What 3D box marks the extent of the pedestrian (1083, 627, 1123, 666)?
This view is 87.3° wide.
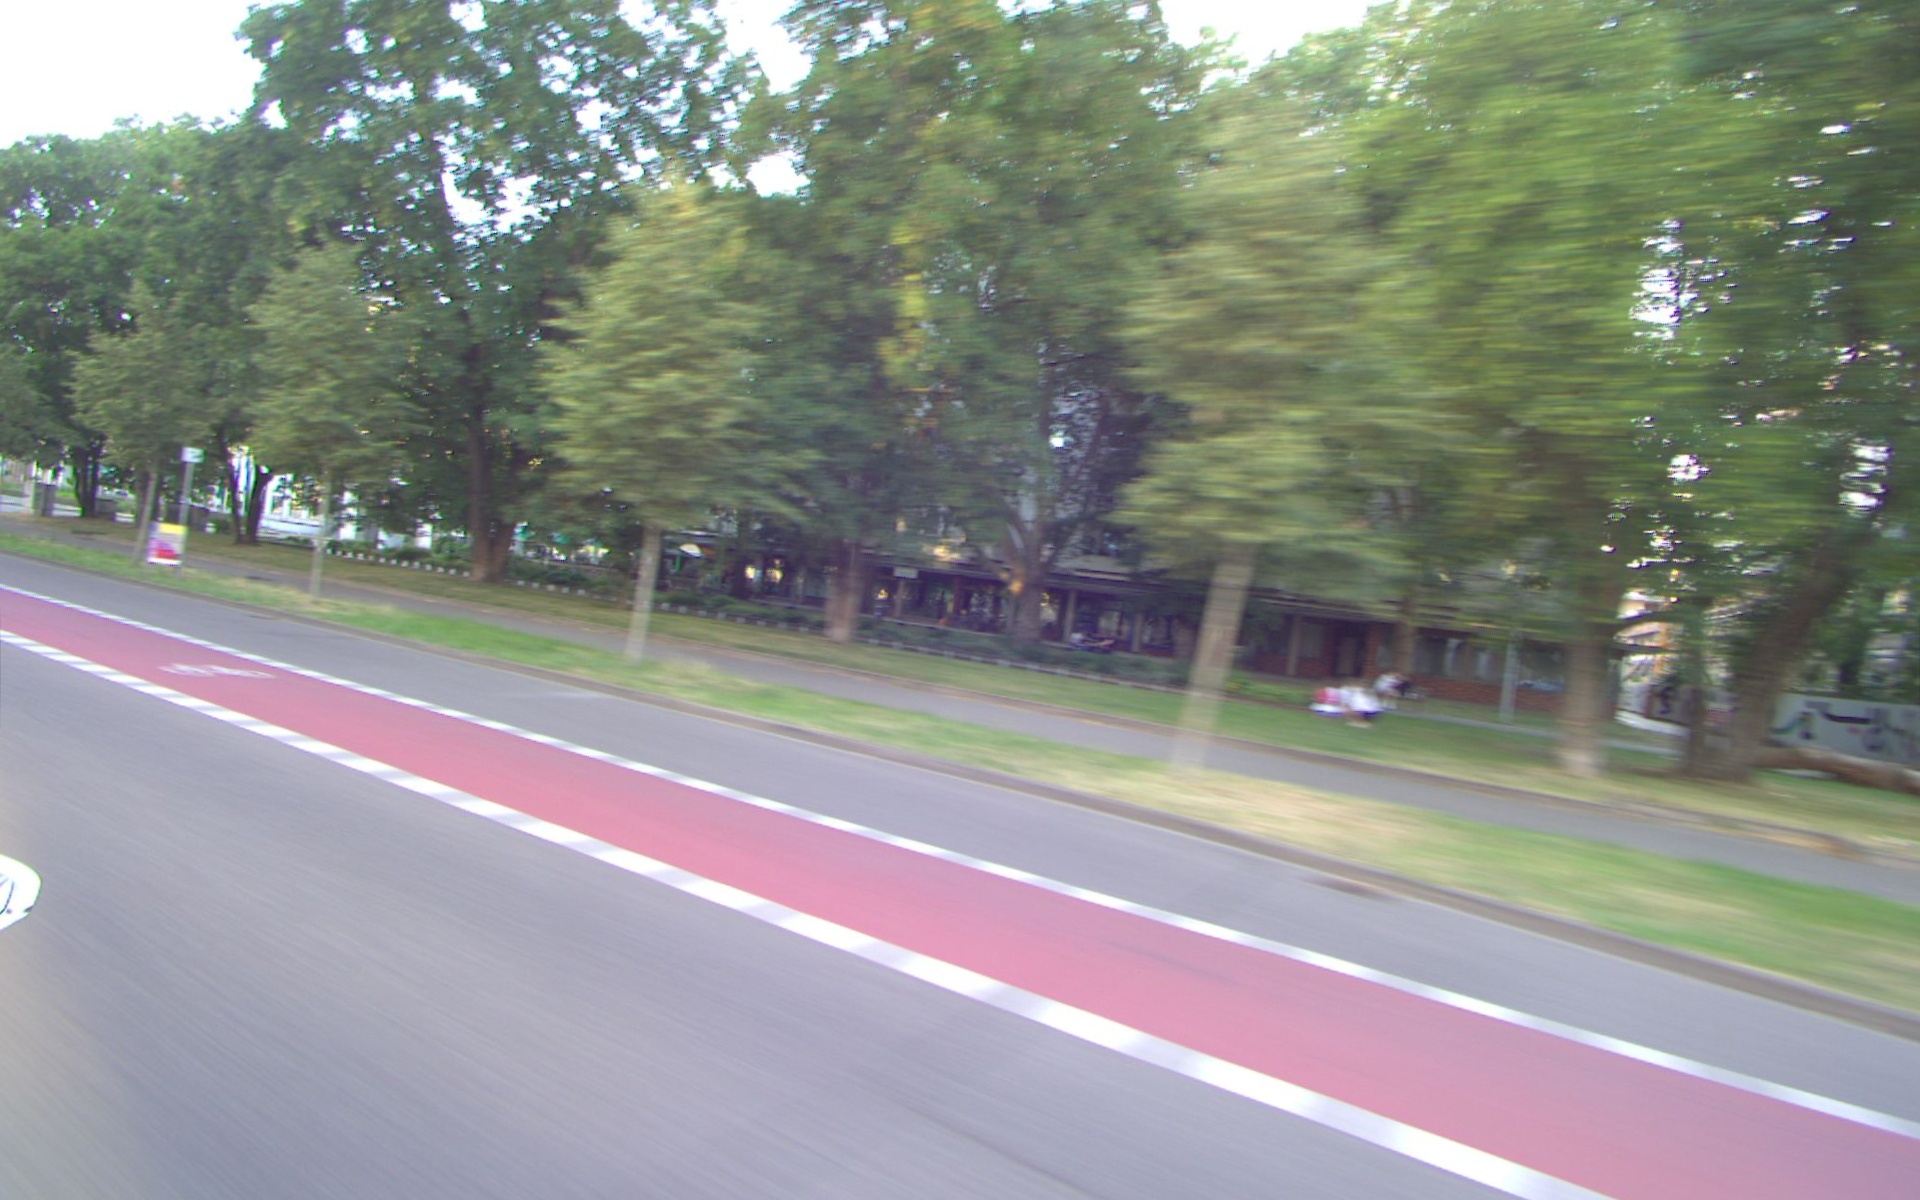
[{"bbox_3d":[5.168,1.686,36.337,0.891,1.276,1.132,7,1,34],"label":"pedestrian"}]

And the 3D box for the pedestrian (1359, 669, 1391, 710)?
[{"bbox_3d":[13.057,2.793,31.650,0.753,1.178,0.788,7,1,26],"label":"pedestrian"}]

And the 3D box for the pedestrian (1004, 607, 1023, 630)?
[{"bbox_3d":[3.072,1.073,58.134,0.688,1.178,0.787,7,1,32],"label":"pedestrian"}]

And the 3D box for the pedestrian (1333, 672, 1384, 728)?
[{"bbox_3d":[7.435,1.853,18.792,0.612,0.895,0.681,9,1,7],"label":"pedestrian"}]

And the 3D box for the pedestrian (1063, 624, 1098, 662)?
[{"bbox_3d":[4.428,1.588,36.910,0.714,1.276,1.132,7,1,34],"label":"pedestrian"}]

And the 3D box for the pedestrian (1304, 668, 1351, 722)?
[{"bbox_3d":[6.860,1.772,18.812,0.582,0.895,0.681,7,1,7],"label":"pedestrian"}]

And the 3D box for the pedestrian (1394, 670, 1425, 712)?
[{"bbox_3d":[13.953,2.808,31.223,0.753,1.178,0.788,7,1,26],"label":"pedestrian"}]
